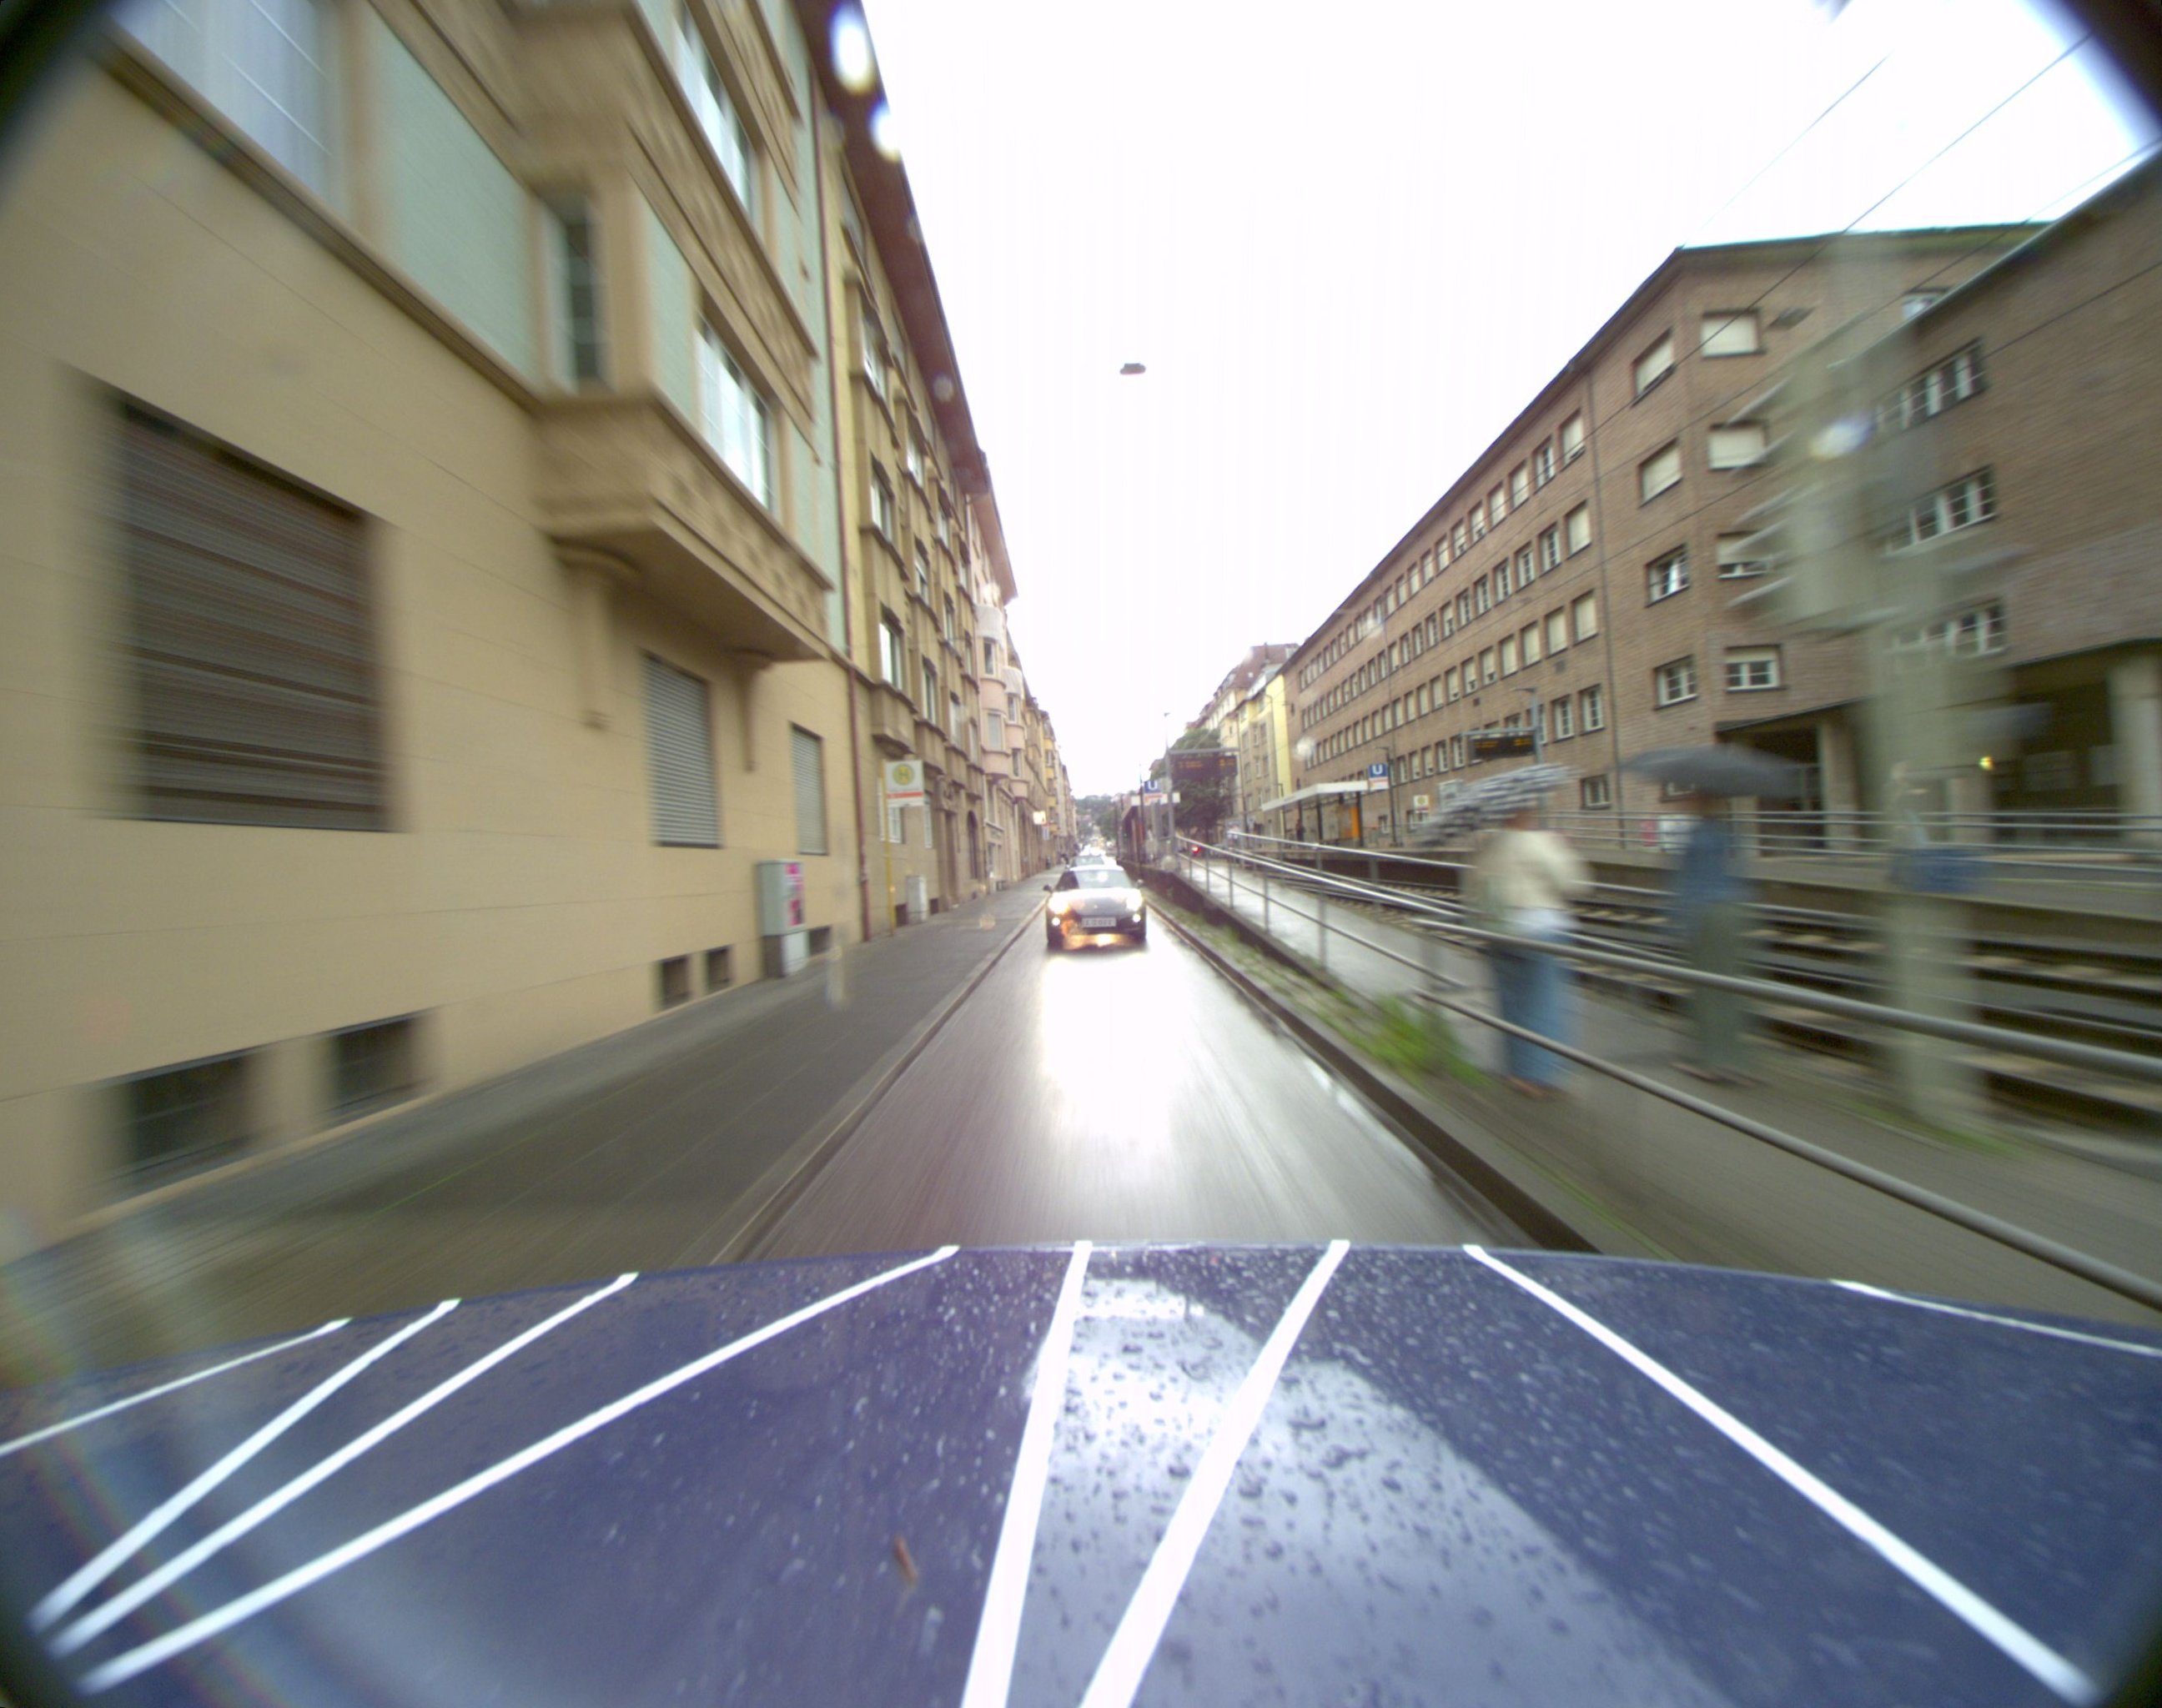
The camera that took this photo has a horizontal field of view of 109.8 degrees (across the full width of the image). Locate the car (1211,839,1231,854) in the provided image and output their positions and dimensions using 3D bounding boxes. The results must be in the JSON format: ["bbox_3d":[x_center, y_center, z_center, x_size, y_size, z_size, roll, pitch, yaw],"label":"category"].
[{"bbox_3d":[15.984,-0.880,87.012,1.648,1.571,4.339,-4,1,2],"label":"car"}]

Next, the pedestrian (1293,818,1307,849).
[{"bbox_3d":[12.078,-1.131,41.921,0.588,1.699,0.491,-2,1,0],"label":"pedestrian"}]

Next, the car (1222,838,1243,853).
[{"bbox_3d":[15.625,-0.889,78.448,1.648,1.458,3.111,-4,1,2],"label":"car"}]

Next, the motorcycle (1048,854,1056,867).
[{"bbox_3d":[-2.786,0.612,73.516,0.692,1.230,1.779,2,1,1],"label":"motorcycle"}]

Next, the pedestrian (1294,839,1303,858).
[{"bbox_3d":[18.724,-0.481,65.441,0.550,1.644,0.542,-2,1,2],"label":"pedestrian"}]

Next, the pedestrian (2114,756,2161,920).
[{"bbox_3d":[11.506,-0.178,7.741,0.745,1.687,0.882,-4,4,0],"label":"pedestrian"}]

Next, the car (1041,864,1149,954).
[{"bbox_3d":[0.315,0.936,14.597,1.704,1.280,4.195,-4,0,2],"label":"car"}]

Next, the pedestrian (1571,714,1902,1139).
[{"bbox_3d":[3.477,0.352,4.147,0.899,2.002,0.947,-4,1,1],"label":"pedestrian"}]

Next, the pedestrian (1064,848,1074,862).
[{"bbox_3d":[-1.501,0.127,93.206,1.125,1.703,1.101,-2,1,0],"label":"pedestrian"}]

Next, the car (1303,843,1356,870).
[{"bbox_3d":[15.083,0.141,46.333,1.648,1.488,4.764,-3,0,1],"label":"car"}]

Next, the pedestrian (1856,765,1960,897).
[{"bbox_3d":[11.320,-0.323,10.416,0.666,1.690,0.688,-6,4,-2],"label":"pedestrian"}]

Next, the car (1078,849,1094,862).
[{"bbox_3d":[0.623,0.166,91.656,1.633,1.443,4.000,-4,1,2],"label":"car"}]

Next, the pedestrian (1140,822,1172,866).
[{"bbox_3d":[3.153,-0.432,32.066,1.116,1.764,1.111,-4,1,1],"label":"pedestrian"}]

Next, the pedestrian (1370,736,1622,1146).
[{"bbox_3d":[2.376,0.420,4.348,0.949,2.002,0.926,-5,1,-44],"label":"pedestrian"}]
